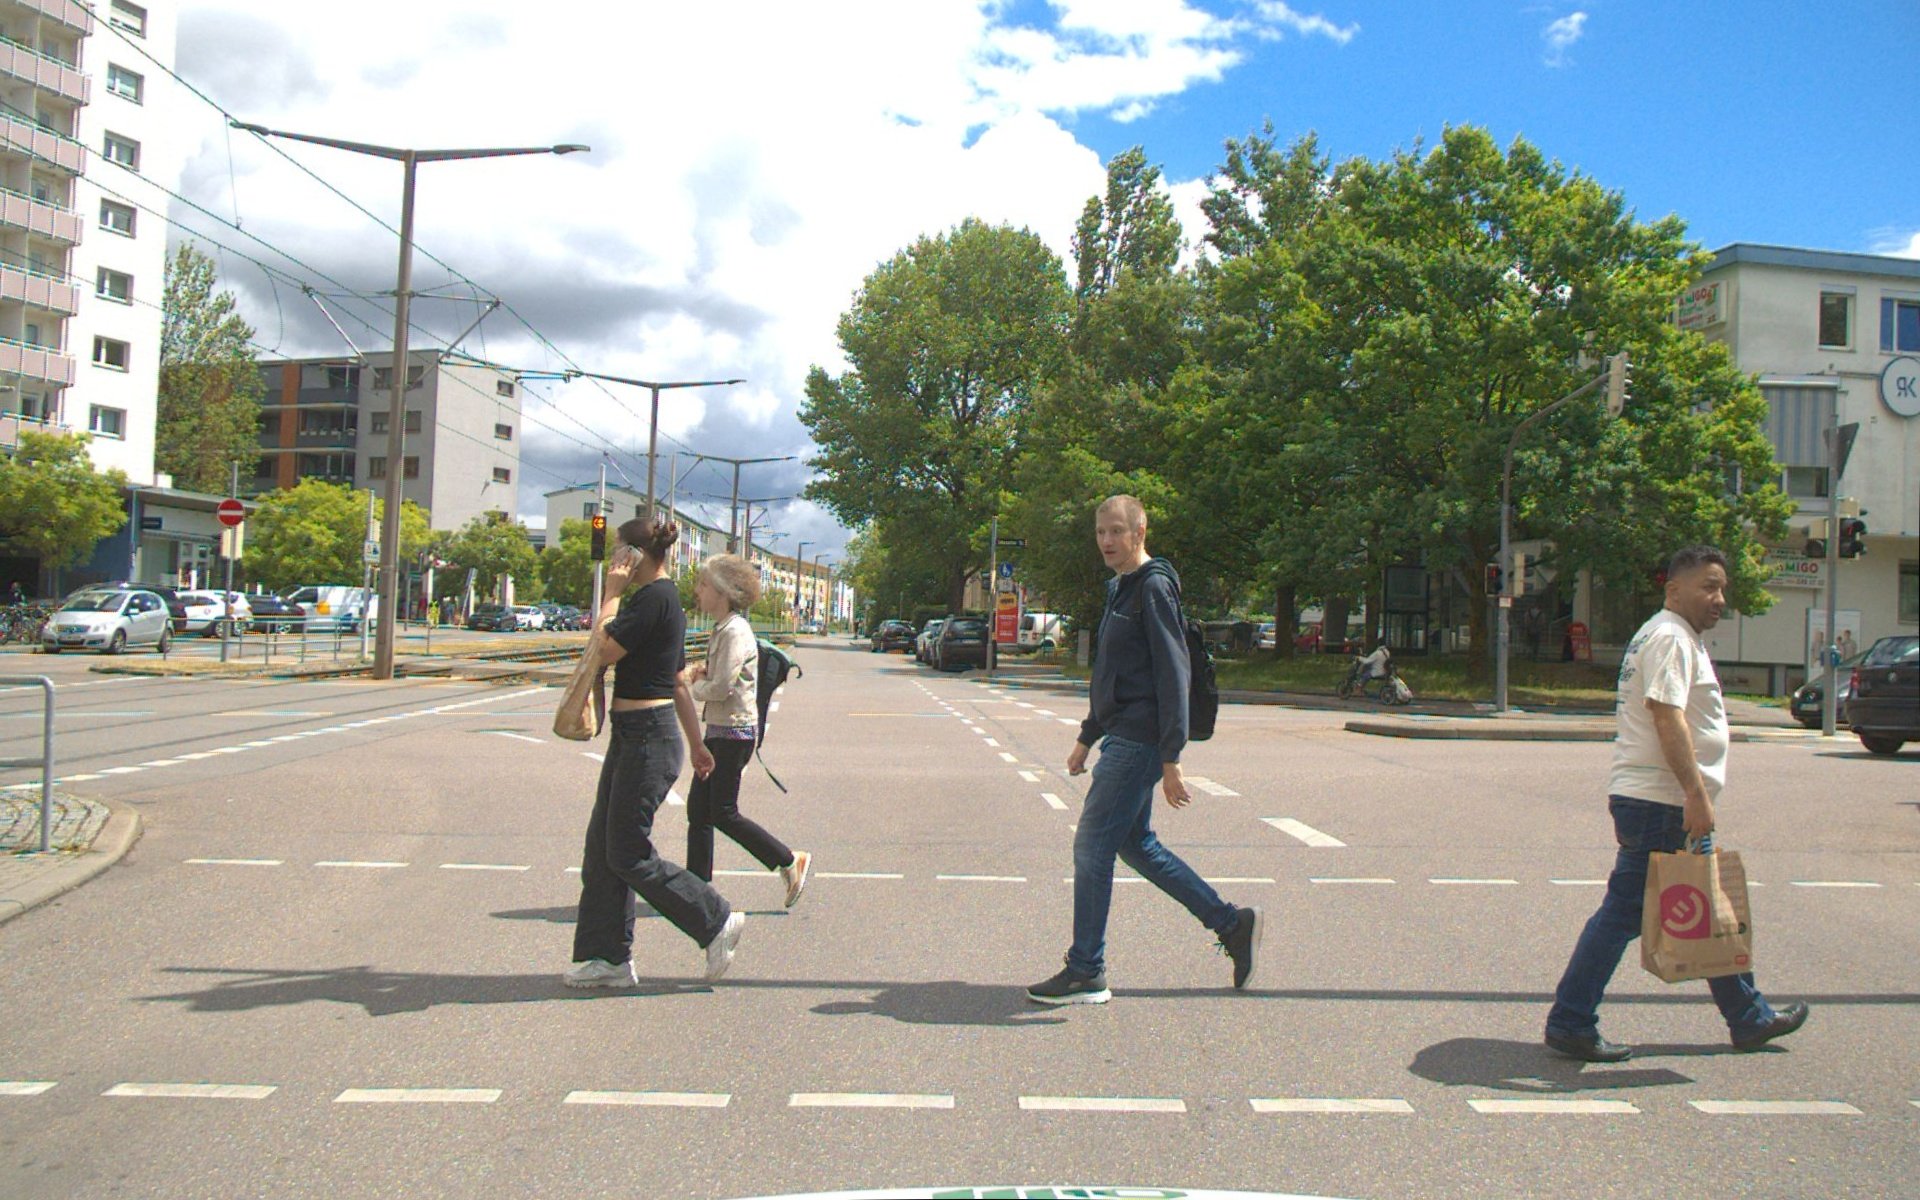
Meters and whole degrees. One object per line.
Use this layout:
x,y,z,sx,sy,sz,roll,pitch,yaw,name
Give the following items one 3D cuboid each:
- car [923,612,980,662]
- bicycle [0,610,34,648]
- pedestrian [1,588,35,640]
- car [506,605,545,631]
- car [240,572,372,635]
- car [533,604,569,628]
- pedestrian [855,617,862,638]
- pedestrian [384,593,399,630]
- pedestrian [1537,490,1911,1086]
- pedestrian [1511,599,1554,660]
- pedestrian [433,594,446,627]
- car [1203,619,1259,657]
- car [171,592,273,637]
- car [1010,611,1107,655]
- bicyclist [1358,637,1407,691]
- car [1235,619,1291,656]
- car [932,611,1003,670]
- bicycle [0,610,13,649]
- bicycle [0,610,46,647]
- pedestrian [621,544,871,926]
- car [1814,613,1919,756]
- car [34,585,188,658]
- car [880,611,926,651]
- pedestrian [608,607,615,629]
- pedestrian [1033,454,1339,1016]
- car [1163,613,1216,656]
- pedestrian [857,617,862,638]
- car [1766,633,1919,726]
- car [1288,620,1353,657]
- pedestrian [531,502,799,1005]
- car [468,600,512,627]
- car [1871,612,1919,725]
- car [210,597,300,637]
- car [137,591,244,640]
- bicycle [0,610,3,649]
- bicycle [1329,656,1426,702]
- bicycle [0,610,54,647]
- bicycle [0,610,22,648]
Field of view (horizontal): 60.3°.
-0.312,1.325,59.220,1.953,1.713,3.999,1,-1,-1,car
-24.793,0.728,42.236,1.910,0.951,0.494,1,-1,-7,bicycle
-30.261,0.461,53.131,0.754,1.643,0.695,1,0,-16,pedestrian
-25.743,1.047,98.074,1.728,1.419,3.993,1,0,-7,car
-27.339,0.125,69.019,2.811,2.522,6.614,1,0,-44,car
-25.833,0.995,104.609,1.728,1.419,3.993,1,0,-7,car
-8.148,2.236,132.857,0.469,1.665,0.454,1,0,-2,pedestrian
-26.966,0.549,78.500,0.536,1.746,0.405,1,0,-1,pedestrian
2.514,0.589,5.522,0.851,1.839,0.741,1,0,-5,pedestrian
16.077,0.816,46.468,0.755,1.672,0.904,2,0,-15,pedestrian
-27.525,0.550,87.400,0.537,1.746,0.667,1,0,-11,pedestrian
12.311,1.717,75.371,1.598,1.600,4.029,1,0,-4,car
-27.131,0.521,60.760,4.143,1.564,1.949,1,0,43,car
4.378,1.465,73.366,3.933,1.855,1.766,1,0,-24,car
8.573,1.292,33.542,0.787,1.040,0.626,2,-1,-43,bicyclist
14.021,1.707,76.694,1.598,1.623,3.997,1,0,-4,car
0.192,1.258,51.782,2.108,1.713,3.999,1,-1,-1,car
-24.734,0.723,41.215,1.910,0.951,0.494,1,-1,-7,bicycle
-24.786,0.732,42.792,1.910,0.951,0.494,1,-1,-7,bicycle
-1.001,0.603,7.920,0.932,1.703,0.871,0,0,14,pedestrian
11.815,0.936,18.677,3.932,1.513,1.746,1,-3,-23,car
-21.272,0.514,41.616,1.898,1.723,3.872,1,0,-1,car
-2.520,1.357,74.500,1.953,1.713,3.999,1,0,-1,car
-26.450,1.334,125.487,0.443,1.665,0.480,1,0,-2,pedestrian
0.828,0.483,6.313,0.947,1.976,0.896,1,0,-5,pedestrian
10.349,1.534,74.842,1.598,1.842,4.029,1,0,-4,car
-8.083,2.196,132.868,0.328,1.656,0.356,1,0,-19,pedestrian
17.059,1.438,30.155,3.838,1.583,1.994,1,0,-12,car
16.793,1.765,77.246,1.698,1.623,3.993,1,0,-8,car
-1.141,0.556,6.381,0.917,1.796,0.770,1,0,-12,pedestrian
-25.715,0.728,90.613,1.728,1.419,3.993,1,0,-7,car
17.099,1.109,26.104,4.472,1.747,1.997,1,0,-8,car
-27.327,0.647,64.023,4.147,1.445,1.777,1,0,45,car
-26.760,0.526,57.468,4.143,1.597,1.949,1,0,43,car
-24.686,0.720,40.711,1.910,0.951,0.494,1,-1,-7,bicycle
8.484,1.590,33.659,0.787,0.833,1.781,2,0,-41,bicycle
-24.833,0.734,43.272,1.910,0.951,0.494,1,-1,-7,bicycle
-24.780,0.725,41.690,1.910,0.951,0.494,1,-1,-7,bicycle
